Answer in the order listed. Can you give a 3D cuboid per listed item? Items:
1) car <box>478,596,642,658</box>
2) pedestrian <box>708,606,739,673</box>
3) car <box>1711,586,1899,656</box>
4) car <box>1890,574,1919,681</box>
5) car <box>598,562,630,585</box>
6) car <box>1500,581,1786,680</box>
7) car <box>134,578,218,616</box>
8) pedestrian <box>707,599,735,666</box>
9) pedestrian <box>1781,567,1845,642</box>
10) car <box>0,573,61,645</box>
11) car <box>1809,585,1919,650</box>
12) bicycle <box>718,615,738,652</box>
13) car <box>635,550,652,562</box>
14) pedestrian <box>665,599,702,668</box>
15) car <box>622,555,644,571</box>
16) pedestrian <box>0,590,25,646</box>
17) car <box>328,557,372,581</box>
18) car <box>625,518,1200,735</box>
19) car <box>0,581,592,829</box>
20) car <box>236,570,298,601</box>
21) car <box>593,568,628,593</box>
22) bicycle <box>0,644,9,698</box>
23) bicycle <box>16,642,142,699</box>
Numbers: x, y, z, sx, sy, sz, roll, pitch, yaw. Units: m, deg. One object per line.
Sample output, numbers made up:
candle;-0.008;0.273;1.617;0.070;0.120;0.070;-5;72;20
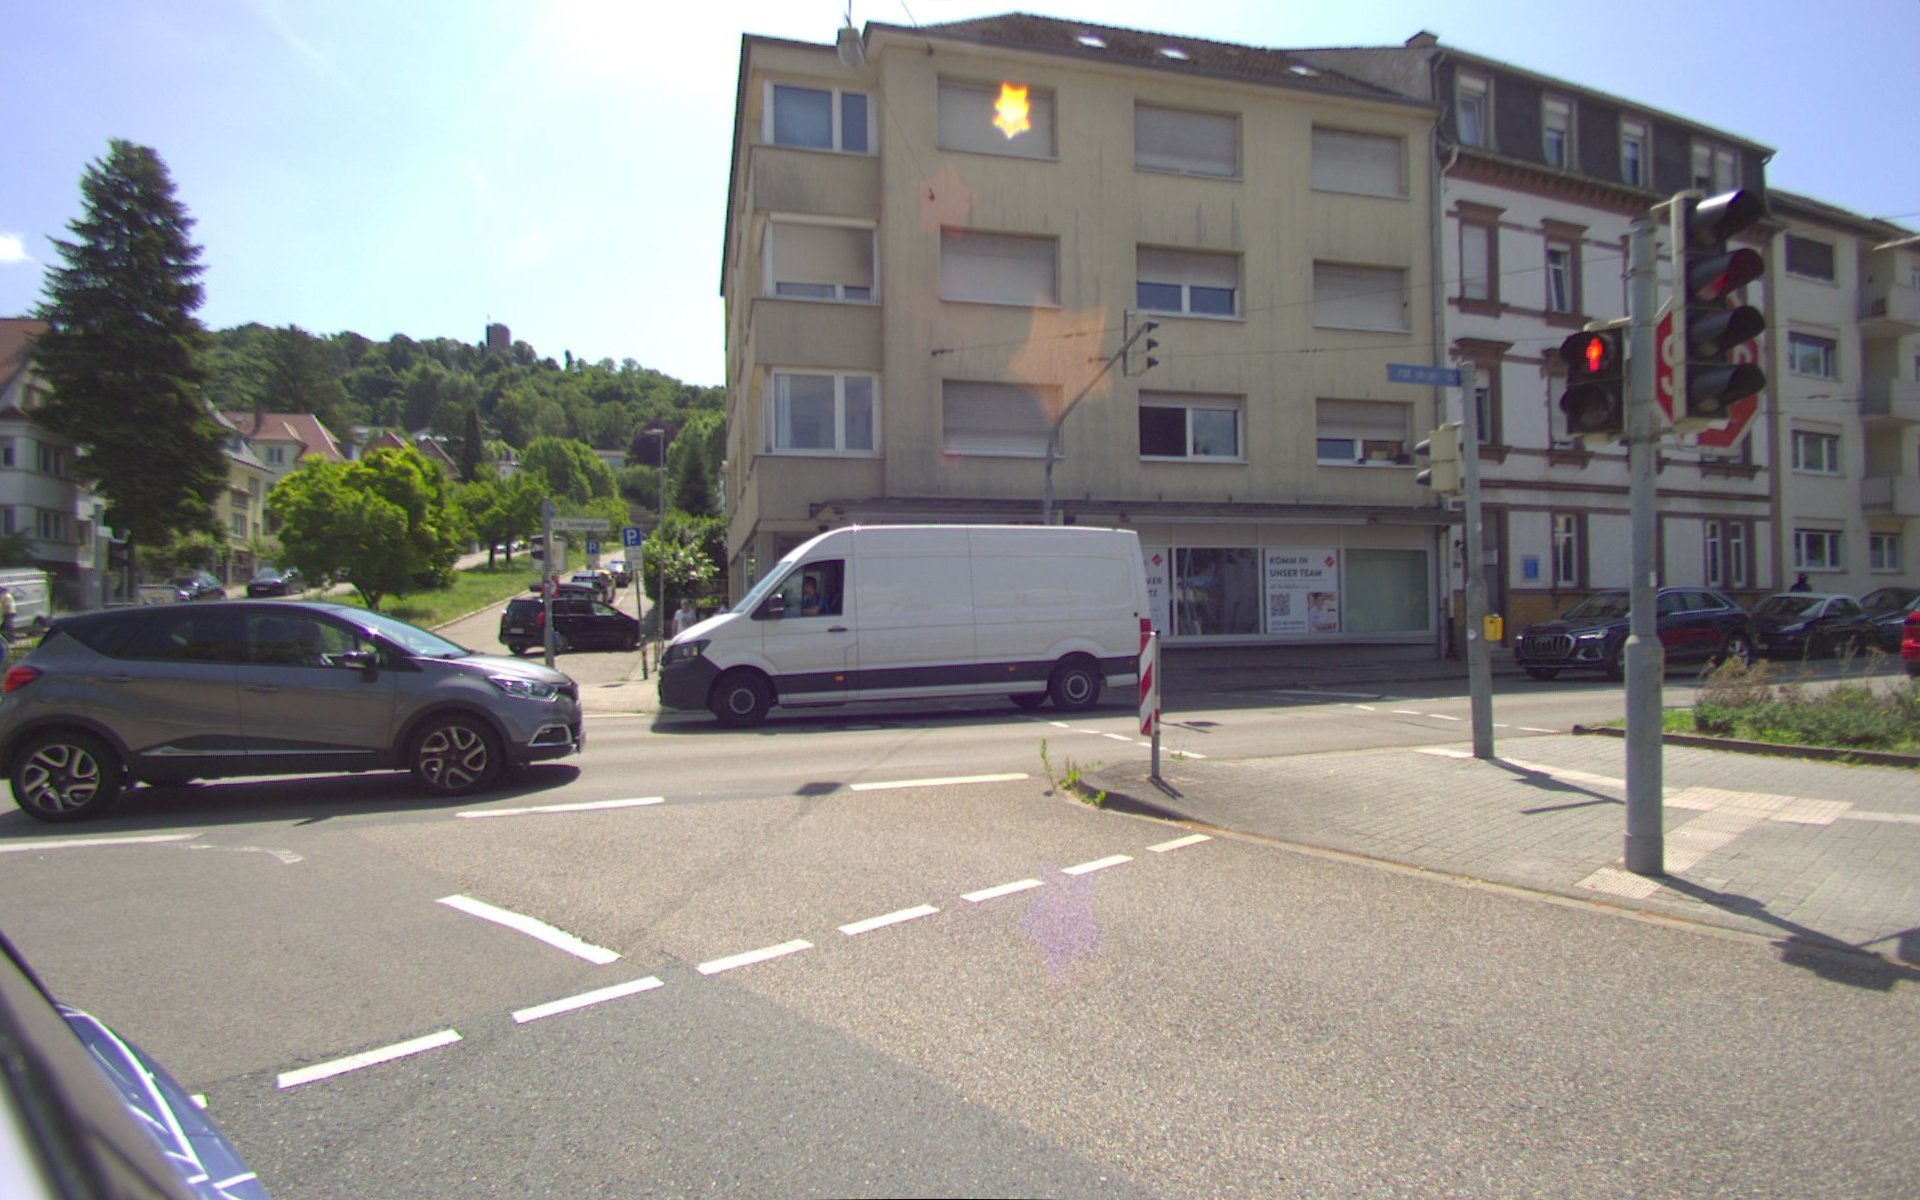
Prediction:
car;-11.583;0.756;29.639;1.988;1.676;4.293;-1;-1;25
pedestrian;-5.401;0.893;23.136;0.638;1.487;0.690;-1;-1;-12
car;20.097;0.465;24.078;3.931;1.530;2.007;0;0;-26
car;16.136;0.367;14.988;3.968;1.569;1.810;-1;0;-19
car;-23.621;-1.832;69.176;1.827;1.431;4.013;-1;3;-16
car;12.076;0.533;17.964;4.213;1.570;1.863;-1;-3;-17
car;-34.021;-0.170;44.010;1.728;1.458;3.752;-1;4;-19
pedestrian;-5.935;0.798;25.177;0.638;1.645;0.690;-1;-1;-12
pedestrian;22.767;0.114;27.031;0.960;1.946;0.941;-1;-1;-25
car;-31.169;0.301;31.847;2.040;2.193;5.025;-1;3;-12
car;24.024;0.412;25.742;4.305;1.521;2.007;-1;-1;-24
bicycle;-6.883;0.984;29.986;0.490;1.034;1.748;-1;0;-14
car;-38.718;-5.448;123.867;1.827;1.431;4.013;-1;3;-16
pedestrian;-6.825;0.815;25.005;0.809;1.645;0.806;-1;-1;-12
car;-30.705;-3.534;95.112;1.827;1.431;4.013;-1;3;-16
pedestrian;-29.814;0.558;31.517;0.731;1.727;0.713;-1;-1;-10
car;-40.101;-2.096;66.608;1.728;1.458;3.752;-1;4;-19
car;-0.648;0.312;13.915;7.425;2.520;2.229;-1;-4;-17
car;-5.182;0.721;8.252;3.933;1.644;1.764;-1;0;-14
car;-36.630;-0.800;53.579;1.728;1.458;3.752;-1;4;-19
car;-21.885;-1.252;63.501;1.827;1.431;4.013;-1;3;-16
bicycle;-18.410;1.316;18.330;1.716;0.974;0.399;-1;0;-17
bicycle;-16.400;1.294;18.873;1.753;0.974;0.399;-1;0;-17
